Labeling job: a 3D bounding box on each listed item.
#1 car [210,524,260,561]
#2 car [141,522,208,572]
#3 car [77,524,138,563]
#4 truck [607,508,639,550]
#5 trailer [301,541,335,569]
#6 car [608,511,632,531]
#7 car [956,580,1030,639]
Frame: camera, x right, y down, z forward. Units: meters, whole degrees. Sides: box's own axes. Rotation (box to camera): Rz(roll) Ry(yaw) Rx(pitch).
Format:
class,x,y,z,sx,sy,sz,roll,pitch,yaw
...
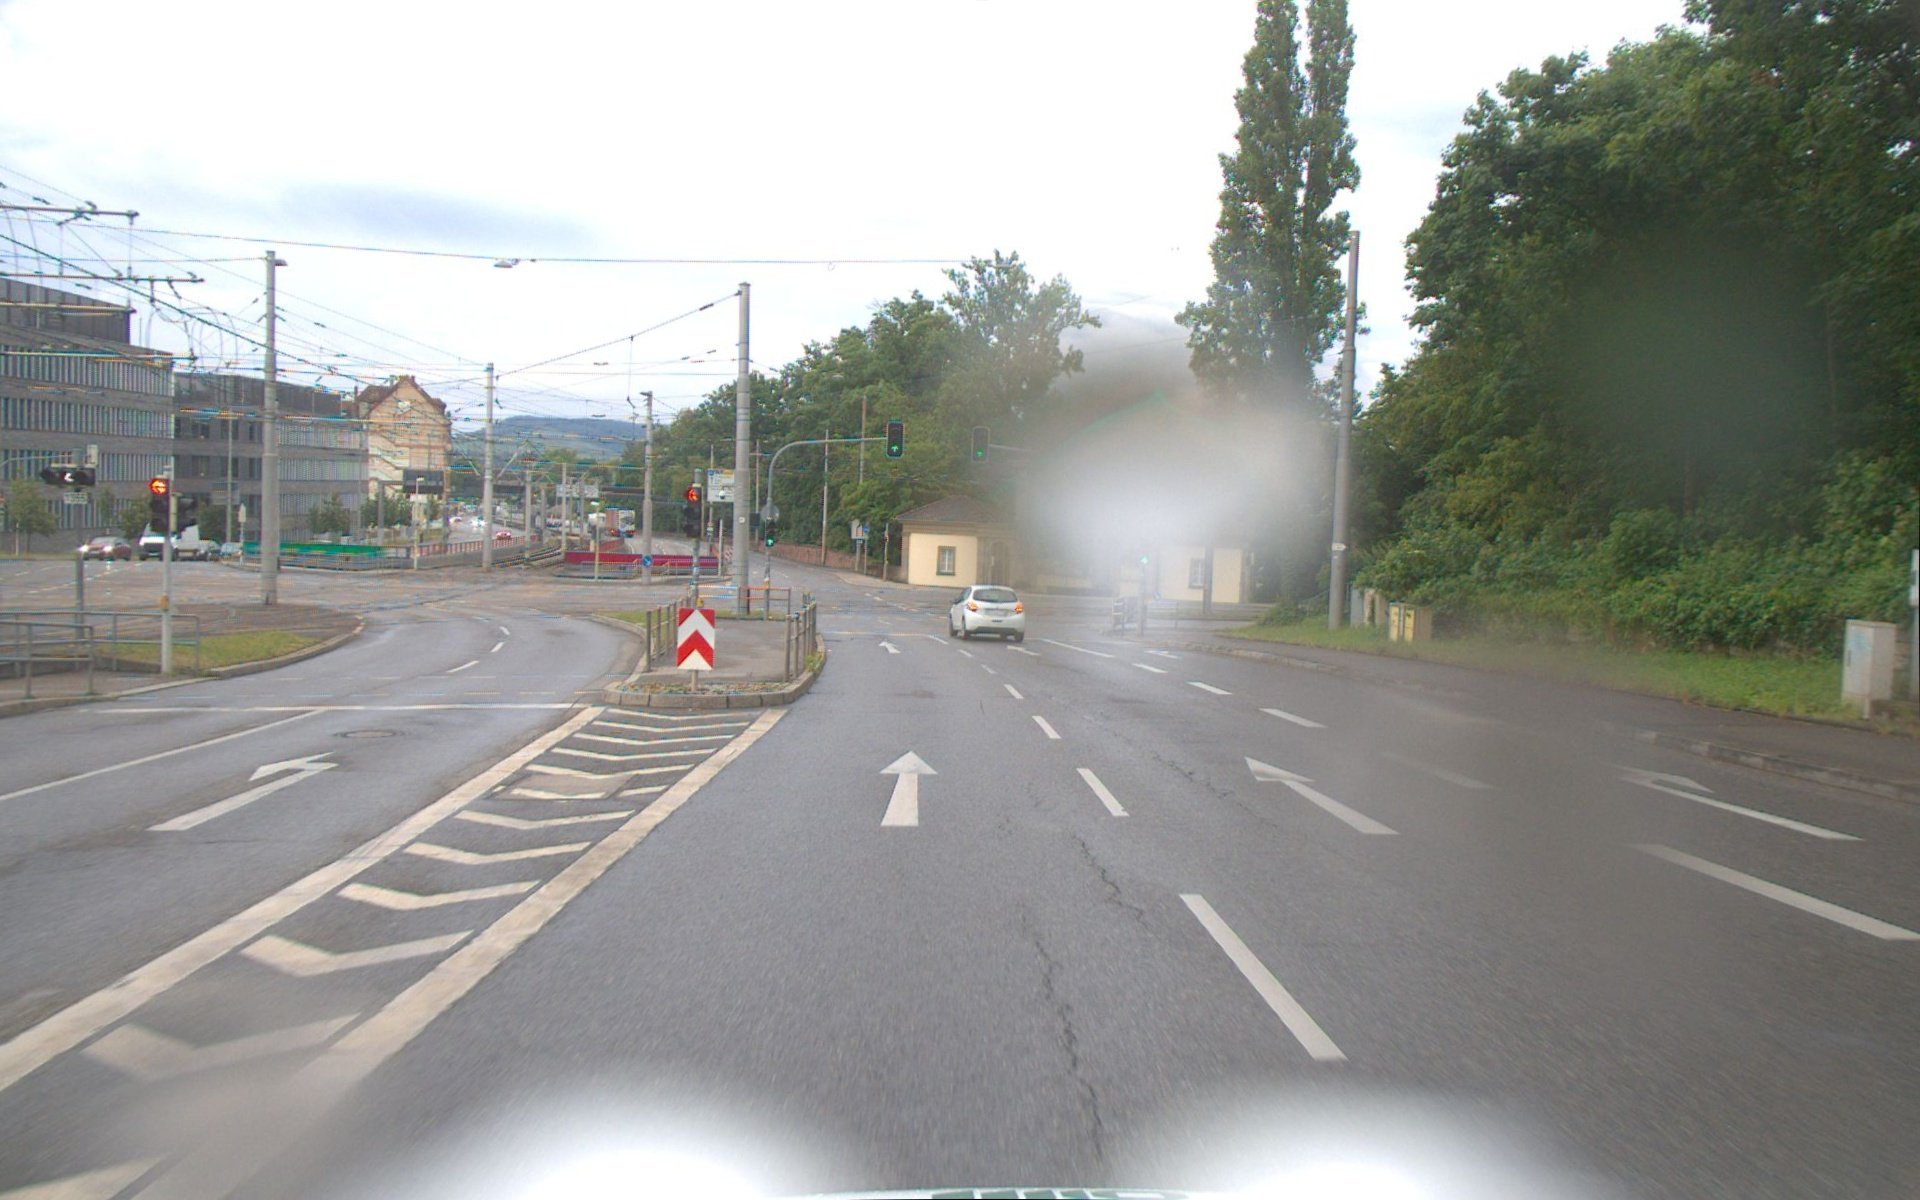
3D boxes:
class,x,y,z,sx,sy,sz,roll,pitch,yaw
car,-47.679,-3.765,108.813,1.957,2.191,4.238,1,-2,-9
car,-46.739,-3.154,98.544,1.957,2.881,5.706,-1,2,-9
car,-50.445,-3.317,97.929,1.957,2.190,4.239,1,1,-9
truck,-49.637,-10.326,243.292,3.409,5.495,11.996,2,-1,-16
trailer,-53.001,-3.712,136.560,1.792,2.110,4.264,1,-1,-10
car,-34.233,-7.918,166.558,1.963,1.905,3.981,0,2,-18
car,0.879,0.283,45.559,1.915,1.514,3.999,1,-1,0
